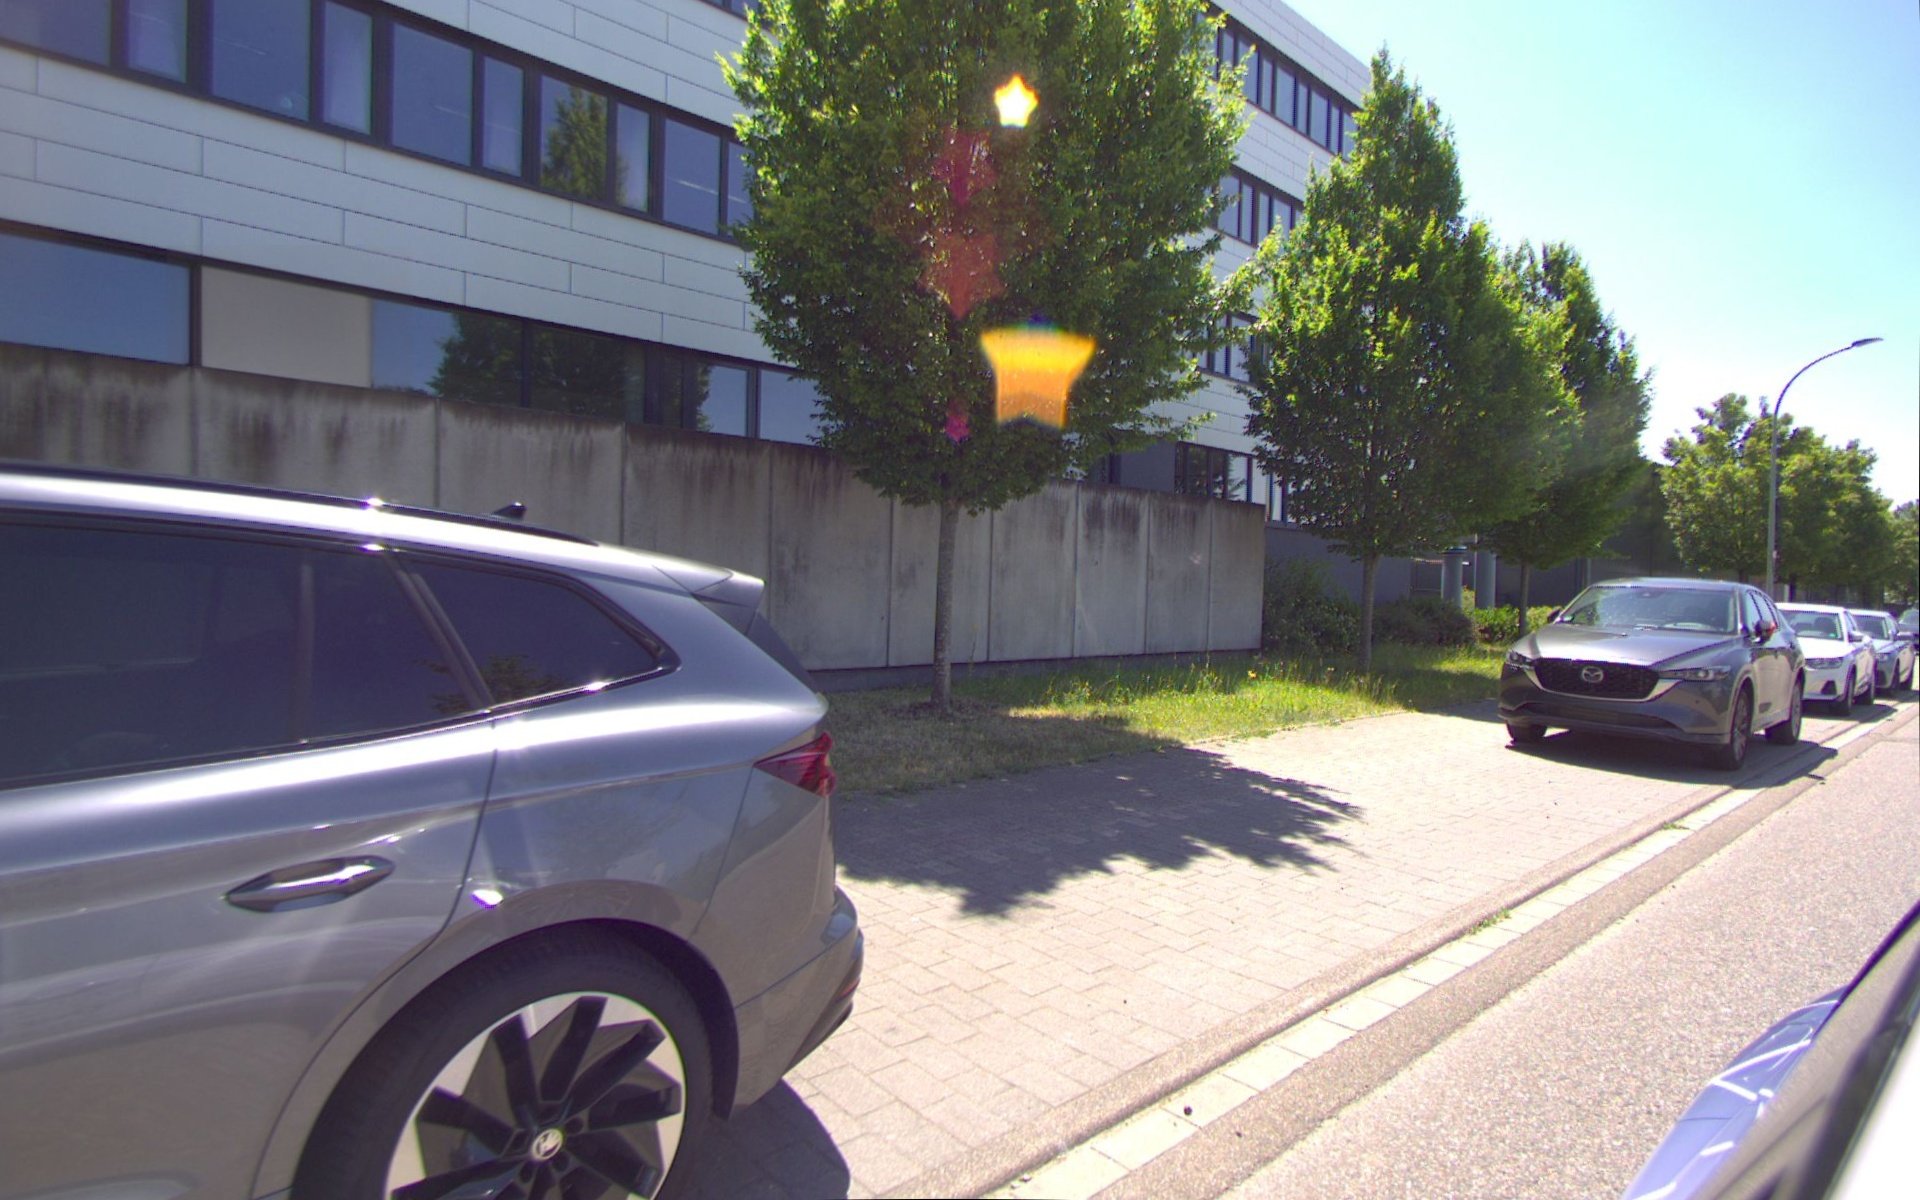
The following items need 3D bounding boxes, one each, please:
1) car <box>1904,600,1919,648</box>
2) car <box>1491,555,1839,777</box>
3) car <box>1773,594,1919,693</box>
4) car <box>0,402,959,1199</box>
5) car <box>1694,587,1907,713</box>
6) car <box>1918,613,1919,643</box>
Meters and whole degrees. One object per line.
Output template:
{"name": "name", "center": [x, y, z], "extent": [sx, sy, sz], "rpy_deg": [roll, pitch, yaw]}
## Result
{"name": "car", "center": [32.187, 0.802, 32.983], "extent": [4.196, 1.494, 1.695], "rpy_deg": [1, 3, -43]}
{"name": "car", "center": [7.058, 0.502, 9.952], "extent": [4.286, 1.683, 1.761], "rpy_deg": [1, 3, -41]}
{"name": "car", "center": [15.913, 0.691, 17.863], "extent": [3.882, 1.441, 1.720], "rpy_deg": [1, 3, -41]}
{"name": "car", "center": [-2.304, 0.512, 1.637], "extent": [4.530, 1.682, 1.807], "rpy_deg": [1, 4, -43]}
{"name": "car", "center": [12.361, 0.647, 14.803], "extent": [3.960, 1.499, 1.720], "rpy_deg": [1, 3, -41]}
{"name": "car", "center": [36.889, 0.810, 37.378], "extent": [4.634, 1.637, 1.810], "rpy_deg": [1, 3, -43]}
